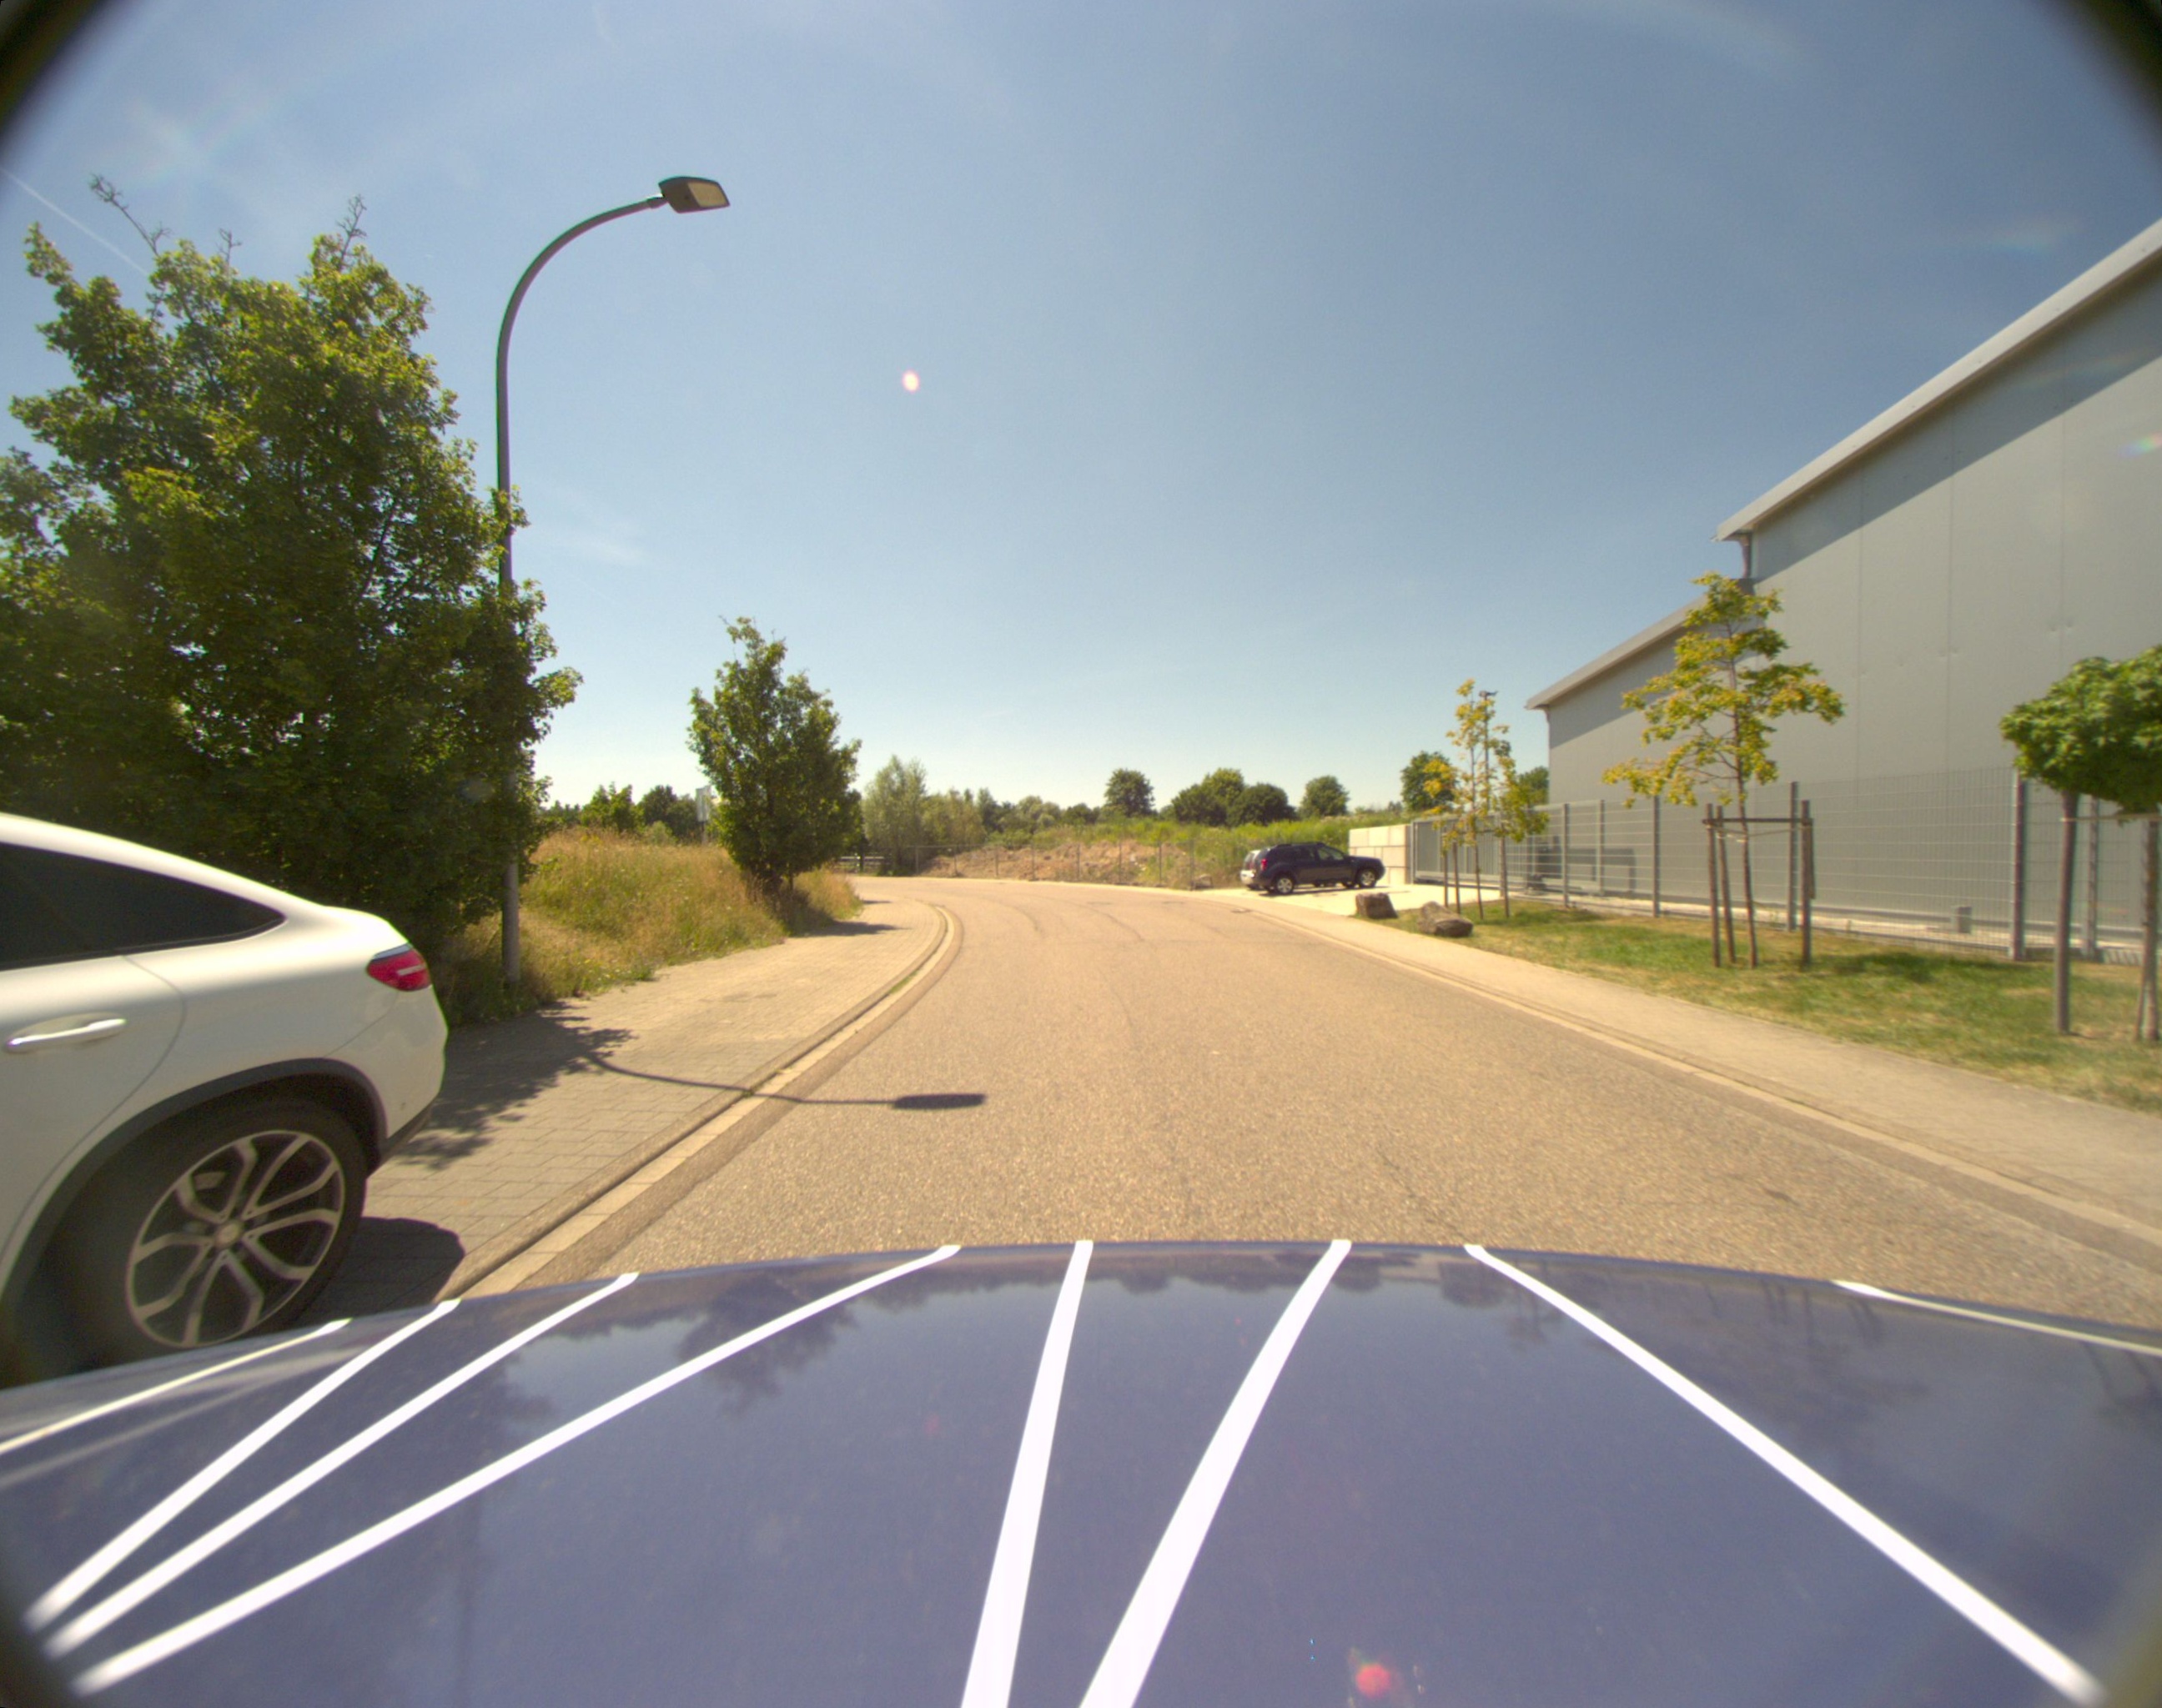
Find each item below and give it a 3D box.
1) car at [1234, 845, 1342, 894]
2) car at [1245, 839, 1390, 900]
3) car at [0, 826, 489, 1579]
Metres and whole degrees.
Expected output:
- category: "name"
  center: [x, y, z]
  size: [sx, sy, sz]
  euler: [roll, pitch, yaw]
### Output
- category: "car"
  center: [7.561, 0.551, 27.929]
  size: [3.369, 1.453, 1.781]
  euler: [-5, 1, -1]
- category: "car"
  center: [7.773, 0.486, 25.239]
  size: [4.172, 1.649, 1.781]
  euler: [-5, 1, 1]
- category: "car"
  center: [-3.511, 0.770, 0.675]
  size: [2.149, 1.689, 4.785]
  euler: [2, 0, 1]
